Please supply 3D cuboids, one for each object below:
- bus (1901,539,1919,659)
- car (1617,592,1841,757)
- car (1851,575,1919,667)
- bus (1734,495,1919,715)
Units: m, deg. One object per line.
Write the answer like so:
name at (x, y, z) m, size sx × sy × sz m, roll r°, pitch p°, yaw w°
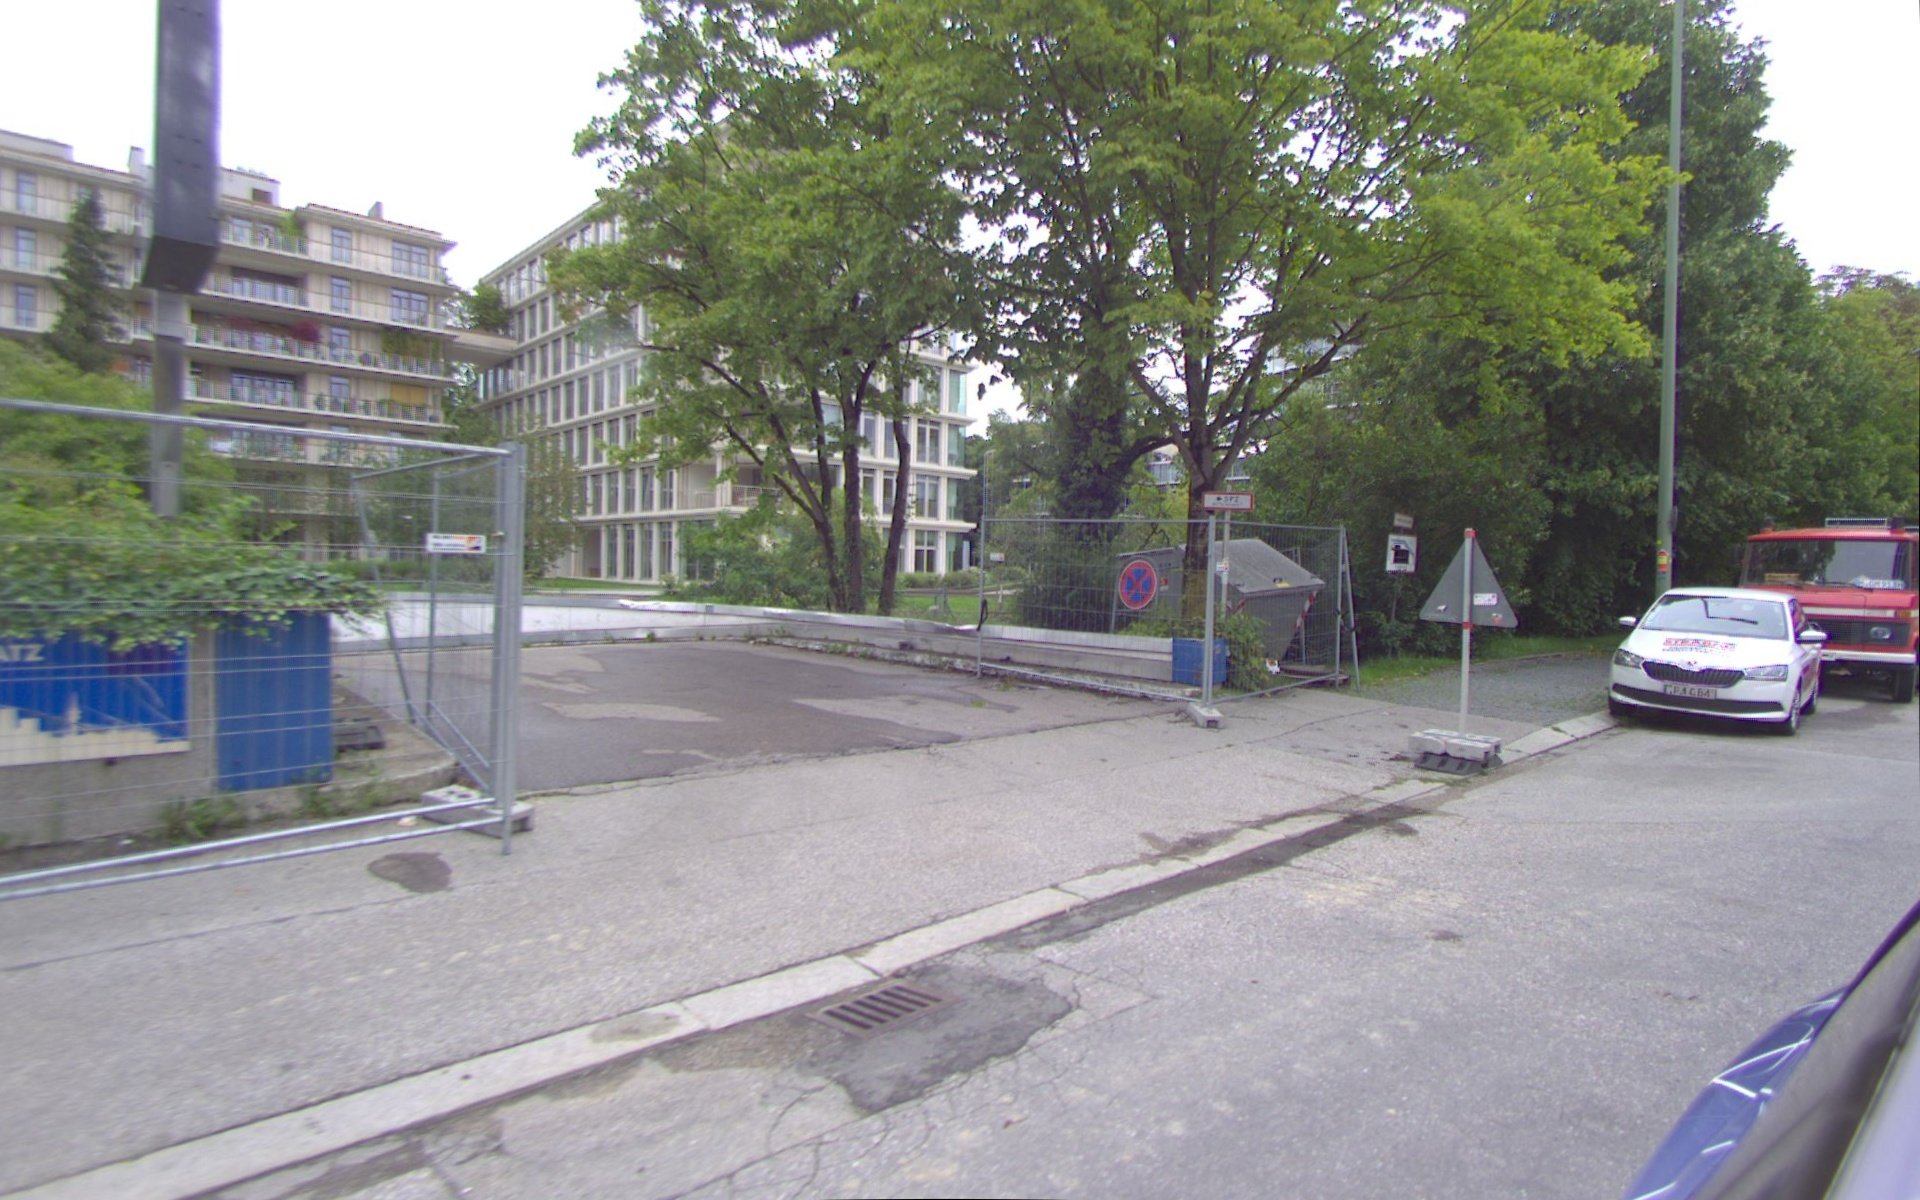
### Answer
bus at (24.945, 0.031, 24.317) m, size 5.753 × 2.763 × 2.081 m, roll 1°, pitch 2°, yaw -34°
car at (9.049, 0.709, 11.786) m, size 1.533 × 1.510 × 3.996 m, roll 3°, pitch 3°, yaw 45°
car at (19.160, 0.417, 19.927) m, size 4.319 × 1.660 × 1.782 m, roll 1°, pitch 2°, yaw -40°
bus at (14.283, 0.038, 15.705) m, size 6.157 × 2.840 × 2.078 m, roll 0°, pitch 2°, yaw -38°
